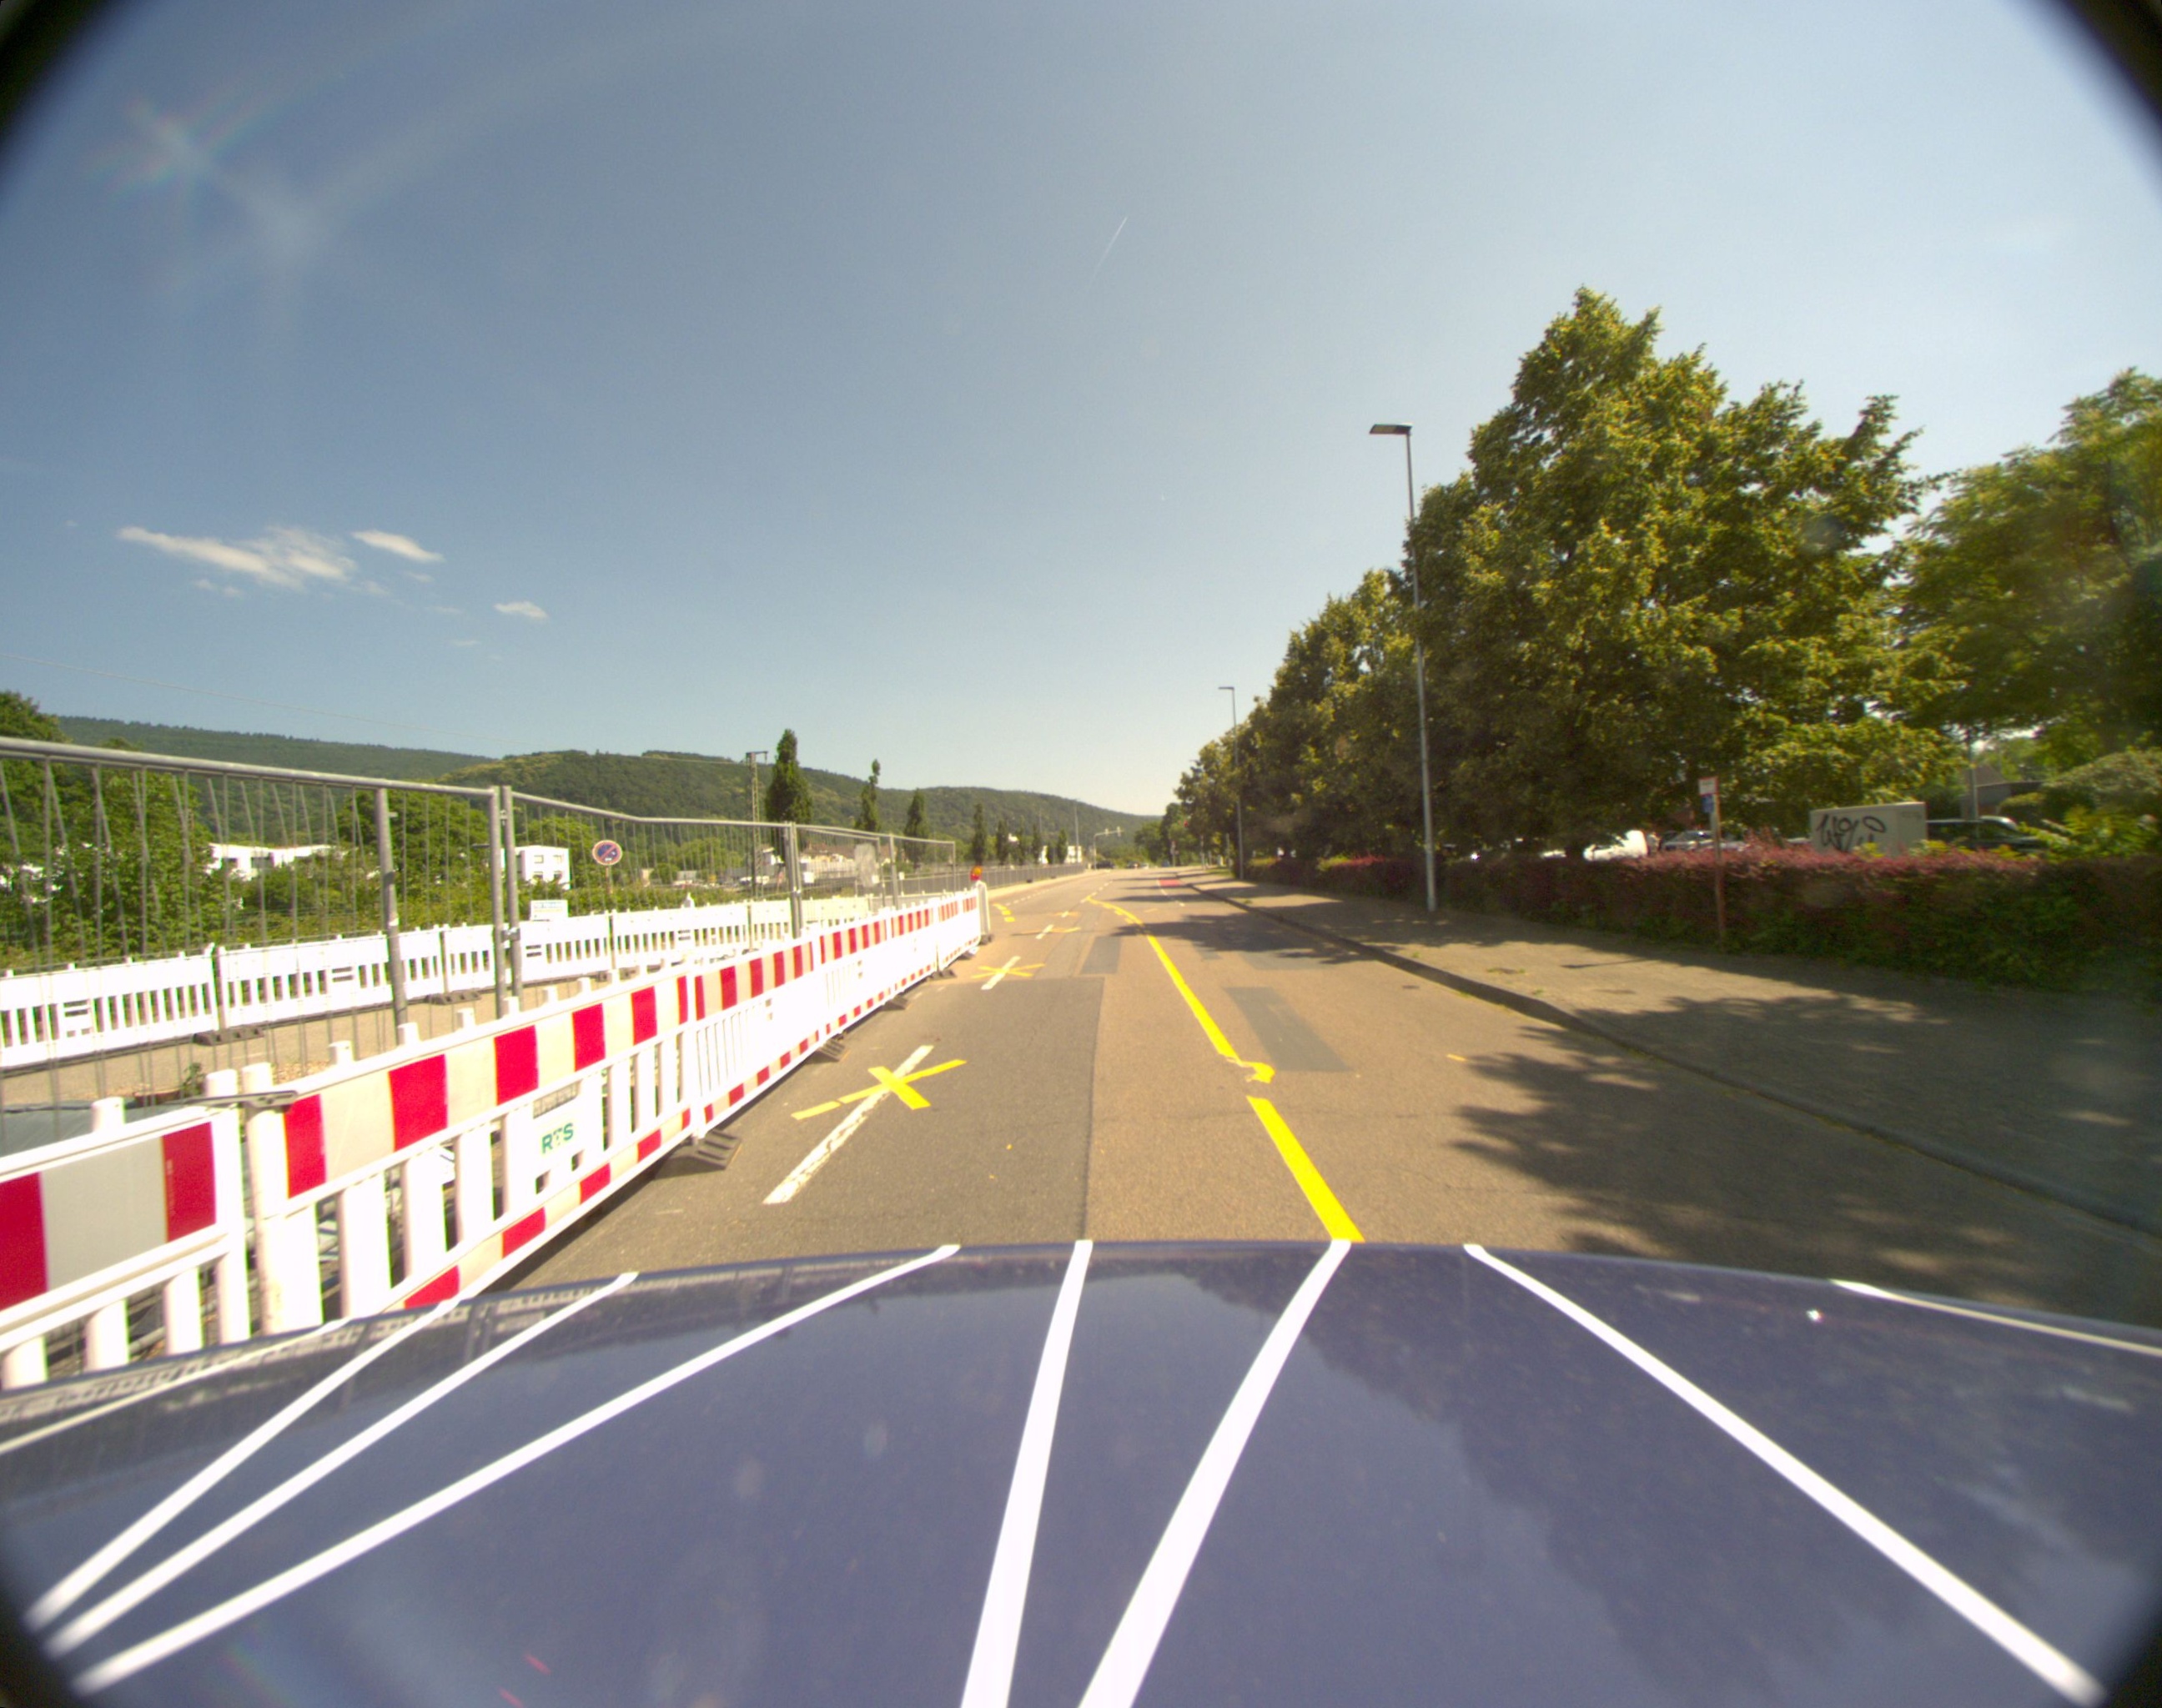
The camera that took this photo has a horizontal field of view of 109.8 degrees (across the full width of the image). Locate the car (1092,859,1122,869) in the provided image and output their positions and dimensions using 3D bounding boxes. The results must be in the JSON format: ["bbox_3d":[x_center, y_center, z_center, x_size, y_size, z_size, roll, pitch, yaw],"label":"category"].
[{"bbox_3d":[4.105,1.547,120.404,4.359,1.338,1.834,-3,3,32],"label":"car"}]

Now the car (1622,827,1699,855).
[{"bbox_3d":[38.372,-0.841,50.399,3.989,1.584,1.931,-3,0,37],"label":"car"}]

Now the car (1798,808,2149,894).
[{"bbox_3d":[19.344,-0.055,16.971,2.072,1.551,5.031,-3,0,4],"label":"car"}]

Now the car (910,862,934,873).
[{"bbox_3d":[-29.617,2.526,141.524,4.359,1.618,1.834,-3,3,32],"label":"car"}]

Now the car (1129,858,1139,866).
[{"bbox_3d":[9.189,1.451,131.940,1.609,1.248,3.684,-3,0,3],"label":"car"}]

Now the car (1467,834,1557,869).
[{"bbox_3d":[24.323,-0.092,43.033,1.761,1.788,4.222,-4,0,-19],"label":"car"}]

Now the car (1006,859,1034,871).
[{"bbox_3d":[-10.283,1.868,128.814,4.359,1.618,1.834,-3,3,32],"label":"car"}]

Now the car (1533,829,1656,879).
[{"bbox_3d":[21.322,-0.003,31.559,4.356,1.816,1.747,-3,-1,-16],"label":"car"}]

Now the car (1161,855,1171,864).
[{"bbox_3d":[15.498,1.038,138.726,1.609,1.526,3.684,-3,0,3],"label":"car"}]

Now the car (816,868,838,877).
[{"bbox_3d":[-51.821,3.739,154.907,4.359,1.483,1.834,-3,3,32],"label":"car"}]

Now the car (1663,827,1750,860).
[{"bbox_3d":[34.063,-0.572,41.420,3.613,1.523,1.620,-4,0,-9],"label":"car"}]
